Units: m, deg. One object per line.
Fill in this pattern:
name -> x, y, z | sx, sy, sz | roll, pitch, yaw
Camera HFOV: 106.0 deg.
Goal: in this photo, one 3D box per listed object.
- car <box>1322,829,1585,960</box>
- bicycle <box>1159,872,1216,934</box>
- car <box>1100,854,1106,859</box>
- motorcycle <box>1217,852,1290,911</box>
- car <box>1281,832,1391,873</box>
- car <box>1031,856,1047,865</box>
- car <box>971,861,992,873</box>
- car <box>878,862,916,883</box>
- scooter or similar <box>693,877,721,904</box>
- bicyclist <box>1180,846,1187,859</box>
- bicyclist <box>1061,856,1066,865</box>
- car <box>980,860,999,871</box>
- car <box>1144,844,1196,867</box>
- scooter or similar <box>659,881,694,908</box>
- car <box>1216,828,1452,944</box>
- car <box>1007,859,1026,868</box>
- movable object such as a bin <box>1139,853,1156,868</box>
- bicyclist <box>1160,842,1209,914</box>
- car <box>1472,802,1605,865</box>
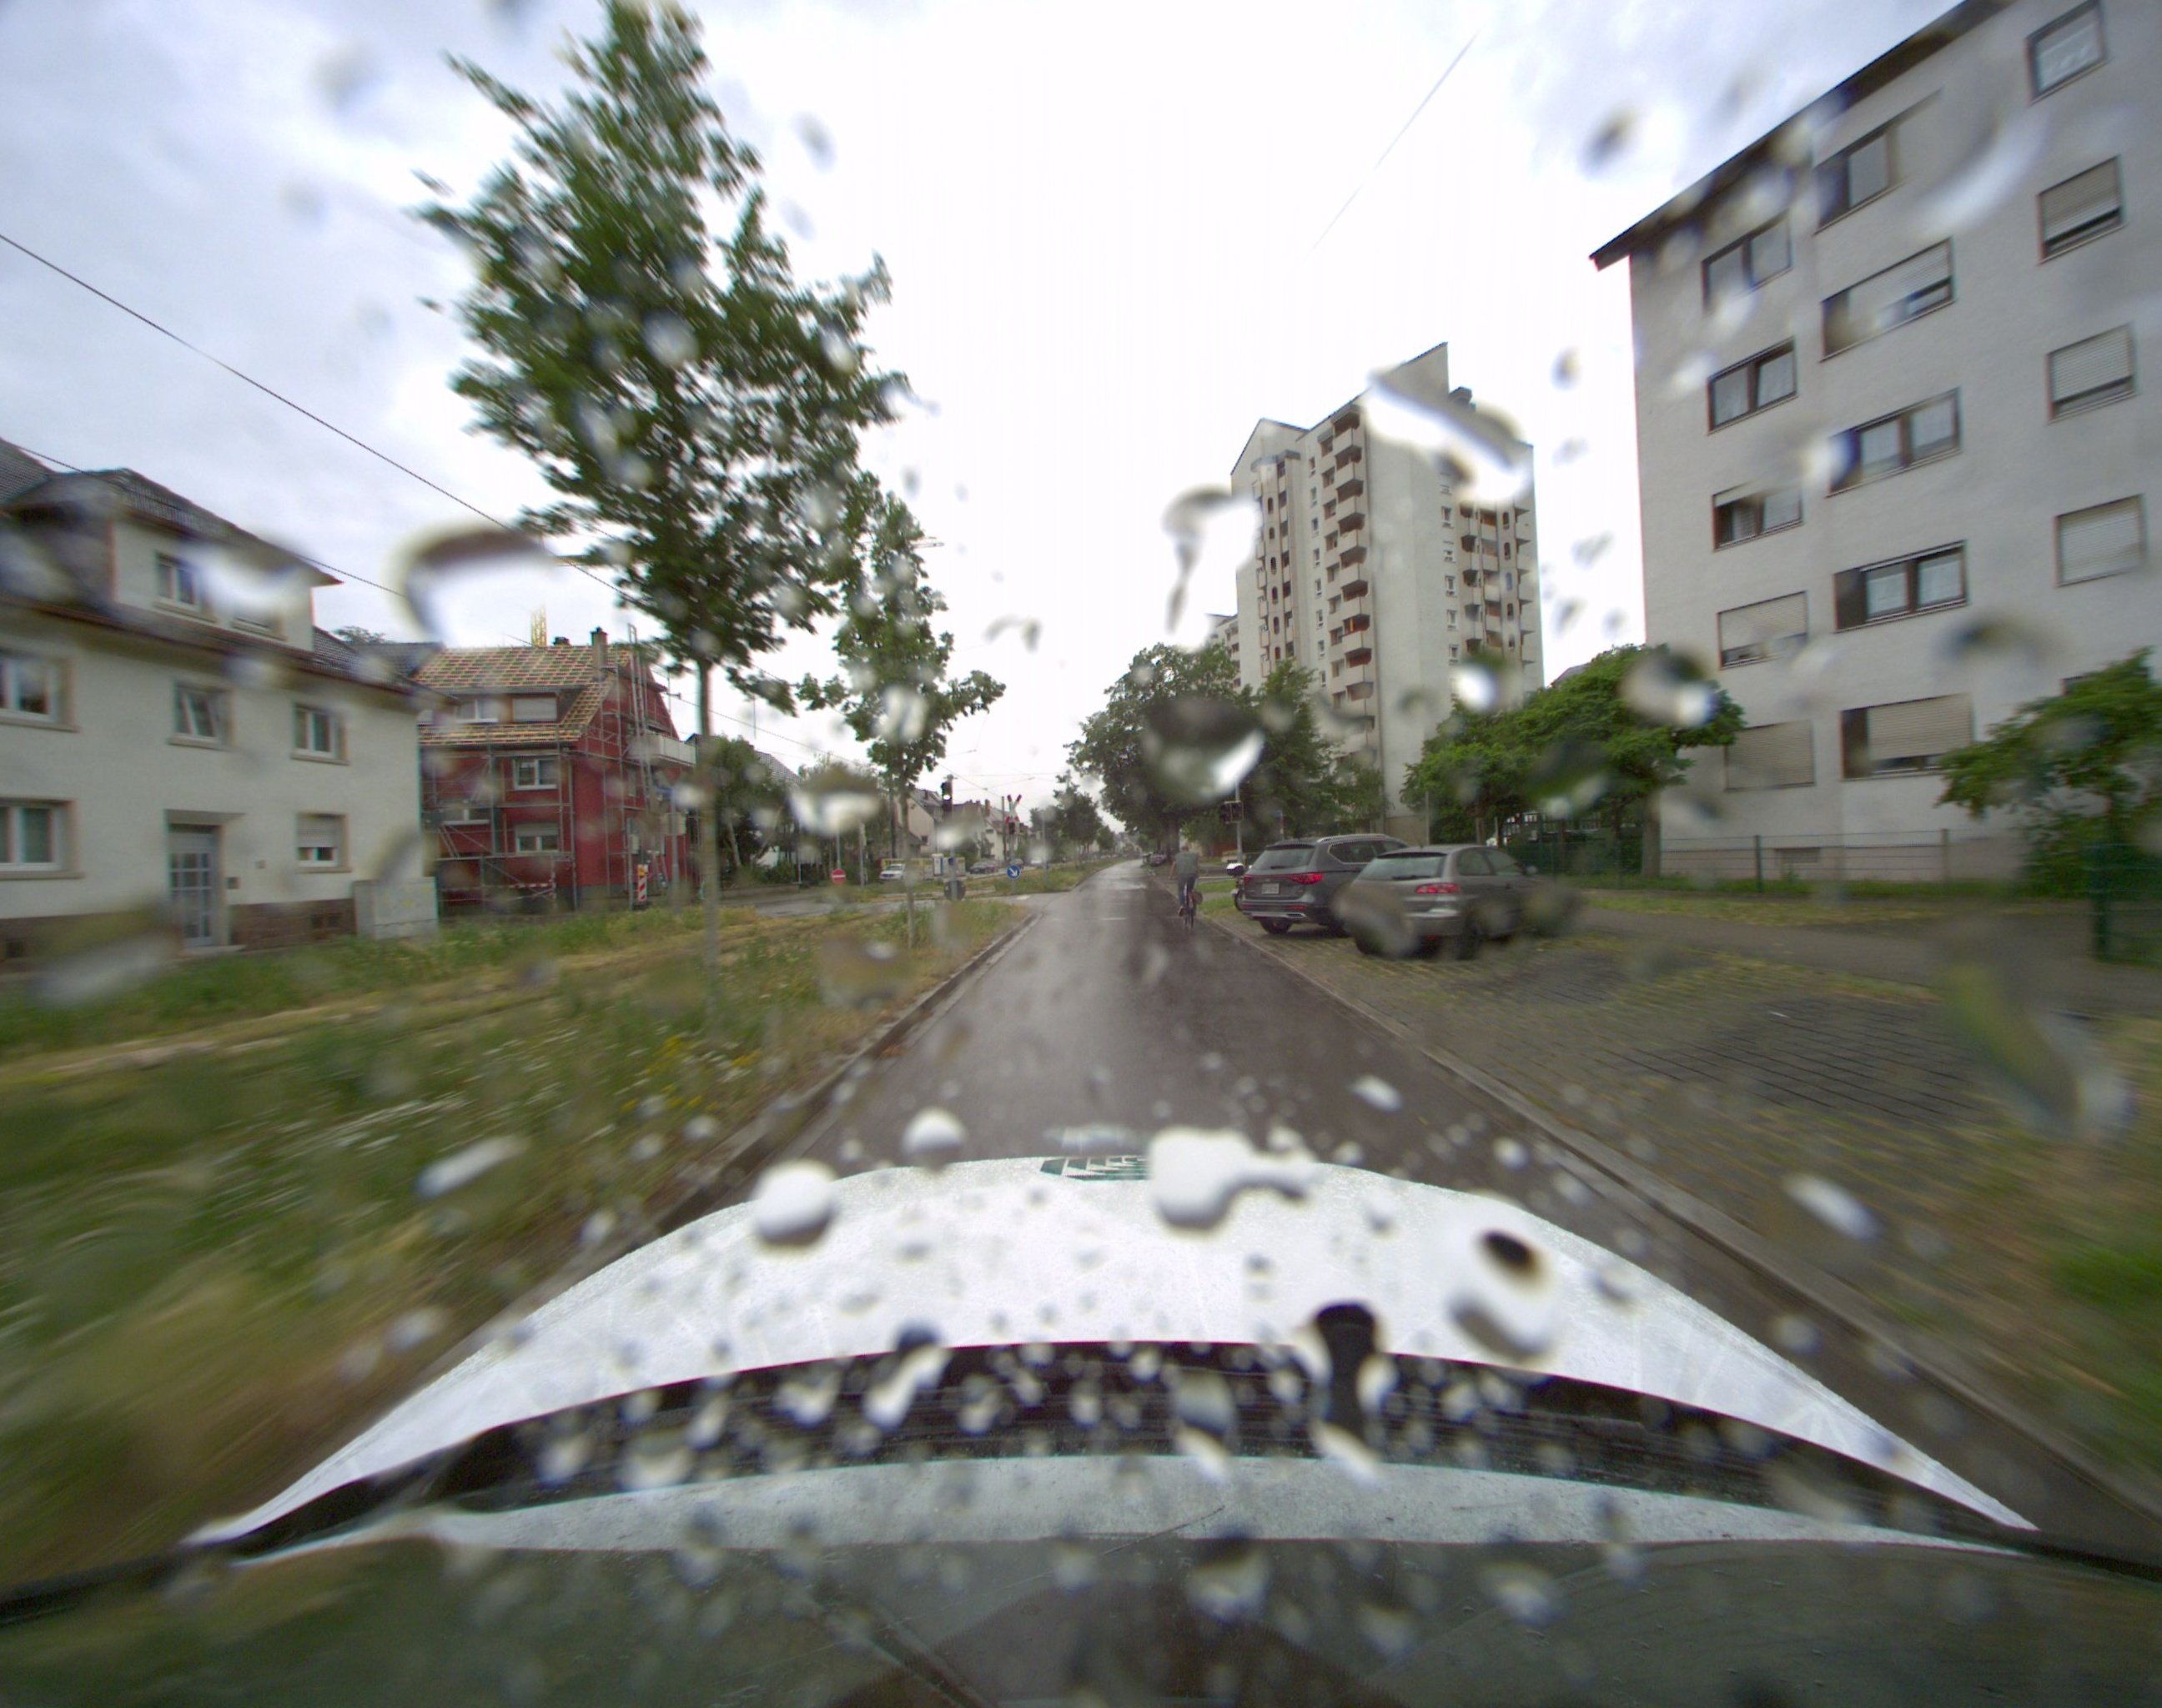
car -> 5.367, 0.465, 11.520 | 4.020, 1.429, 1.715 | -3, 0, -39
bicycle -> 2.194, 0.979, 17.111 | 0.807, 1.096, 2.517 | -3, 0, 0
car -> 7.081, 0.740, 260.270 | 1.835, 1.672, 4.005 | -3, 0, 4
motorcycle -> 4.352, 0.668, 20.499 | 1.787, 1.336, 0.682 | -4, 0, -34
car -> 12.608, -0.056, 40.305 | 4.807, 1.745, 1.991 | -3, 0, -13
car -> -7.335, 1.189, 141.999 | 1.886, 1.469, 4.696 | -1, 0, 7
car -> -11.451, 1.472, 94.033 | 1.656, 1.244, 4.076 | -1, 0, 4
car -> -14.615, 1.462, 64.805 | 1.702, 1.542, 4.428 | -1, 0, 5
scooter or similar -> -17.879, 1.742, 38.965 | 0.390, 1.180, 1.289 | -3, 0, 18
bicyclist -> 13.514, -0.194, 107.167 | 0.731, 1.594, 0.945 | -3, 0, 3
bicyclist -> -3.829, 1.414, 177.289 | 1.014, 1.685, 1.093 | -3, 0, 3
car -> -11.126, 1.435, 99.294 | 1.667, 1.244, 3.860 | -1, 0, 4
car -> 8.001, 0.125, 73.427 | 4.160, 1.719, 1.981 | -6, 1, -29
scooter or similar -> -17.808, 1.780, 35.858 | 0.435, 1.129, 1.291 | -3, 0, 32
car -> 4.611, 0.478, 14.549 | 4.372, 1.651, 1.836 | -3, 0, -39
car -> -9.542, 1.356, 119.983 | 1.886, 1.244, 4.696 | -1, 0, 7
movable object such as a bin -> 7.098, 0.682, 86.815 | 1.128, 1.457, 1.393 | -9, 2, -17
bicyclist -> 2.164, 0.494, 17.154 | 0.807, 1.432, 1.060 | -3, 0, 0
car -> 23.697, -1.057, 42.221 | 6.062, 2.964, 2.121 | -3, 0, -13
